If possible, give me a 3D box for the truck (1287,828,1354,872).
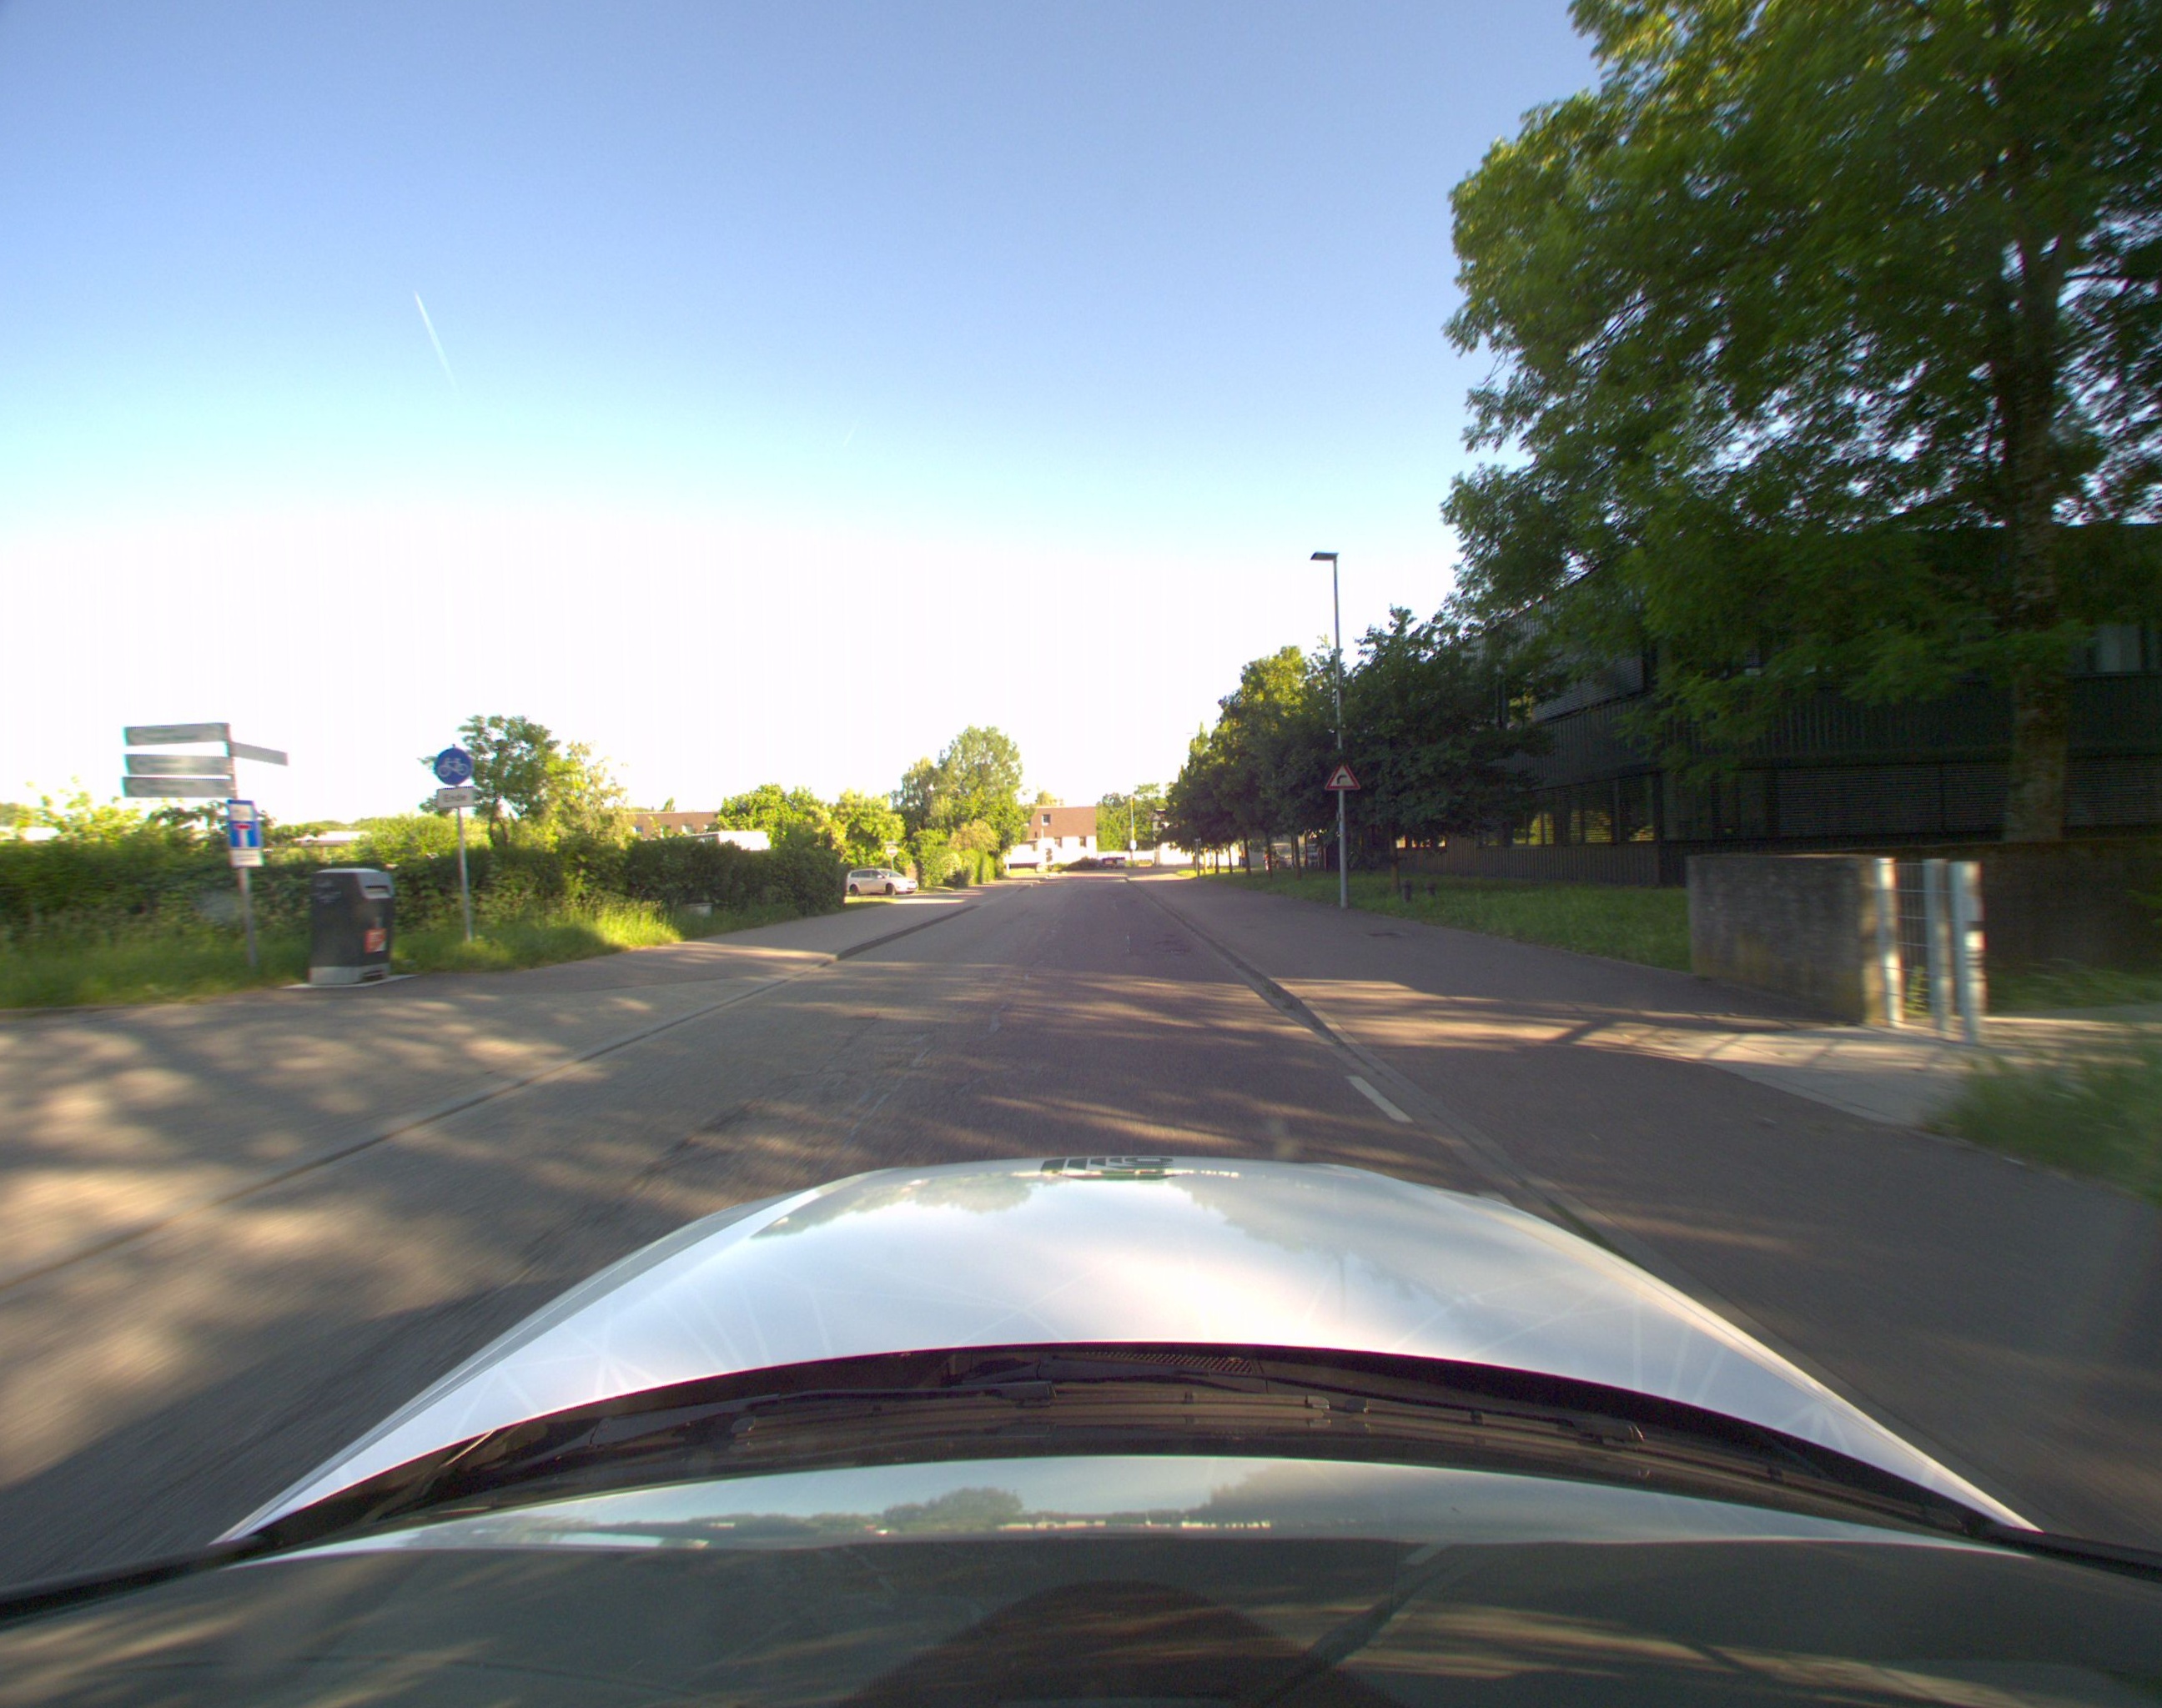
[{"bbox_3d":[16.699,-0.232,57.240,2.353,2.838,6.741,0,-1,-3],"label":"truck"}]

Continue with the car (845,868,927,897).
[{"bbox_3d":[-10.737,1.561,44.836,4.171,1.490,1.887,-1,-2,28],"label":"car"}]

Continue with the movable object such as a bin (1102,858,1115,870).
[{"bbox_3d":[3.273,1.225,96.185,1.363,1.418,1.063,0,-2,-6],"label":"movable object such as a bin"}]

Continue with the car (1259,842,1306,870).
[{"bbox_3d":[13.773,0.165,55.871,1.831,1.814,4.659,0,-1,-3],"label":"car"}]

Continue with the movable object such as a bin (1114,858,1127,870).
[{"bbox_3d":[4.657,1.224,96.510,1.363,1.418,1.063,0,-2,-6],"label":"movable object such as a bin"}]

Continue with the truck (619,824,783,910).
[{"bbox_3d":[-19.381,0.776,41.281,9.215,3.884,2.728,-3,-3,30],"label":"truck"}]

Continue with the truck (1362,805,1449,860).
[{"bbox_3d":[17.426,-1.049,44.196,2.273,2.678,6.402,0,-1,1],"label":"truck"}]

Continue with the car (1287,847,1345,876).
[{"bbox_3d":[12.482,0.422,43.507,1.830,1.467,4.276,0,-1,-1],"label":"car"}]
